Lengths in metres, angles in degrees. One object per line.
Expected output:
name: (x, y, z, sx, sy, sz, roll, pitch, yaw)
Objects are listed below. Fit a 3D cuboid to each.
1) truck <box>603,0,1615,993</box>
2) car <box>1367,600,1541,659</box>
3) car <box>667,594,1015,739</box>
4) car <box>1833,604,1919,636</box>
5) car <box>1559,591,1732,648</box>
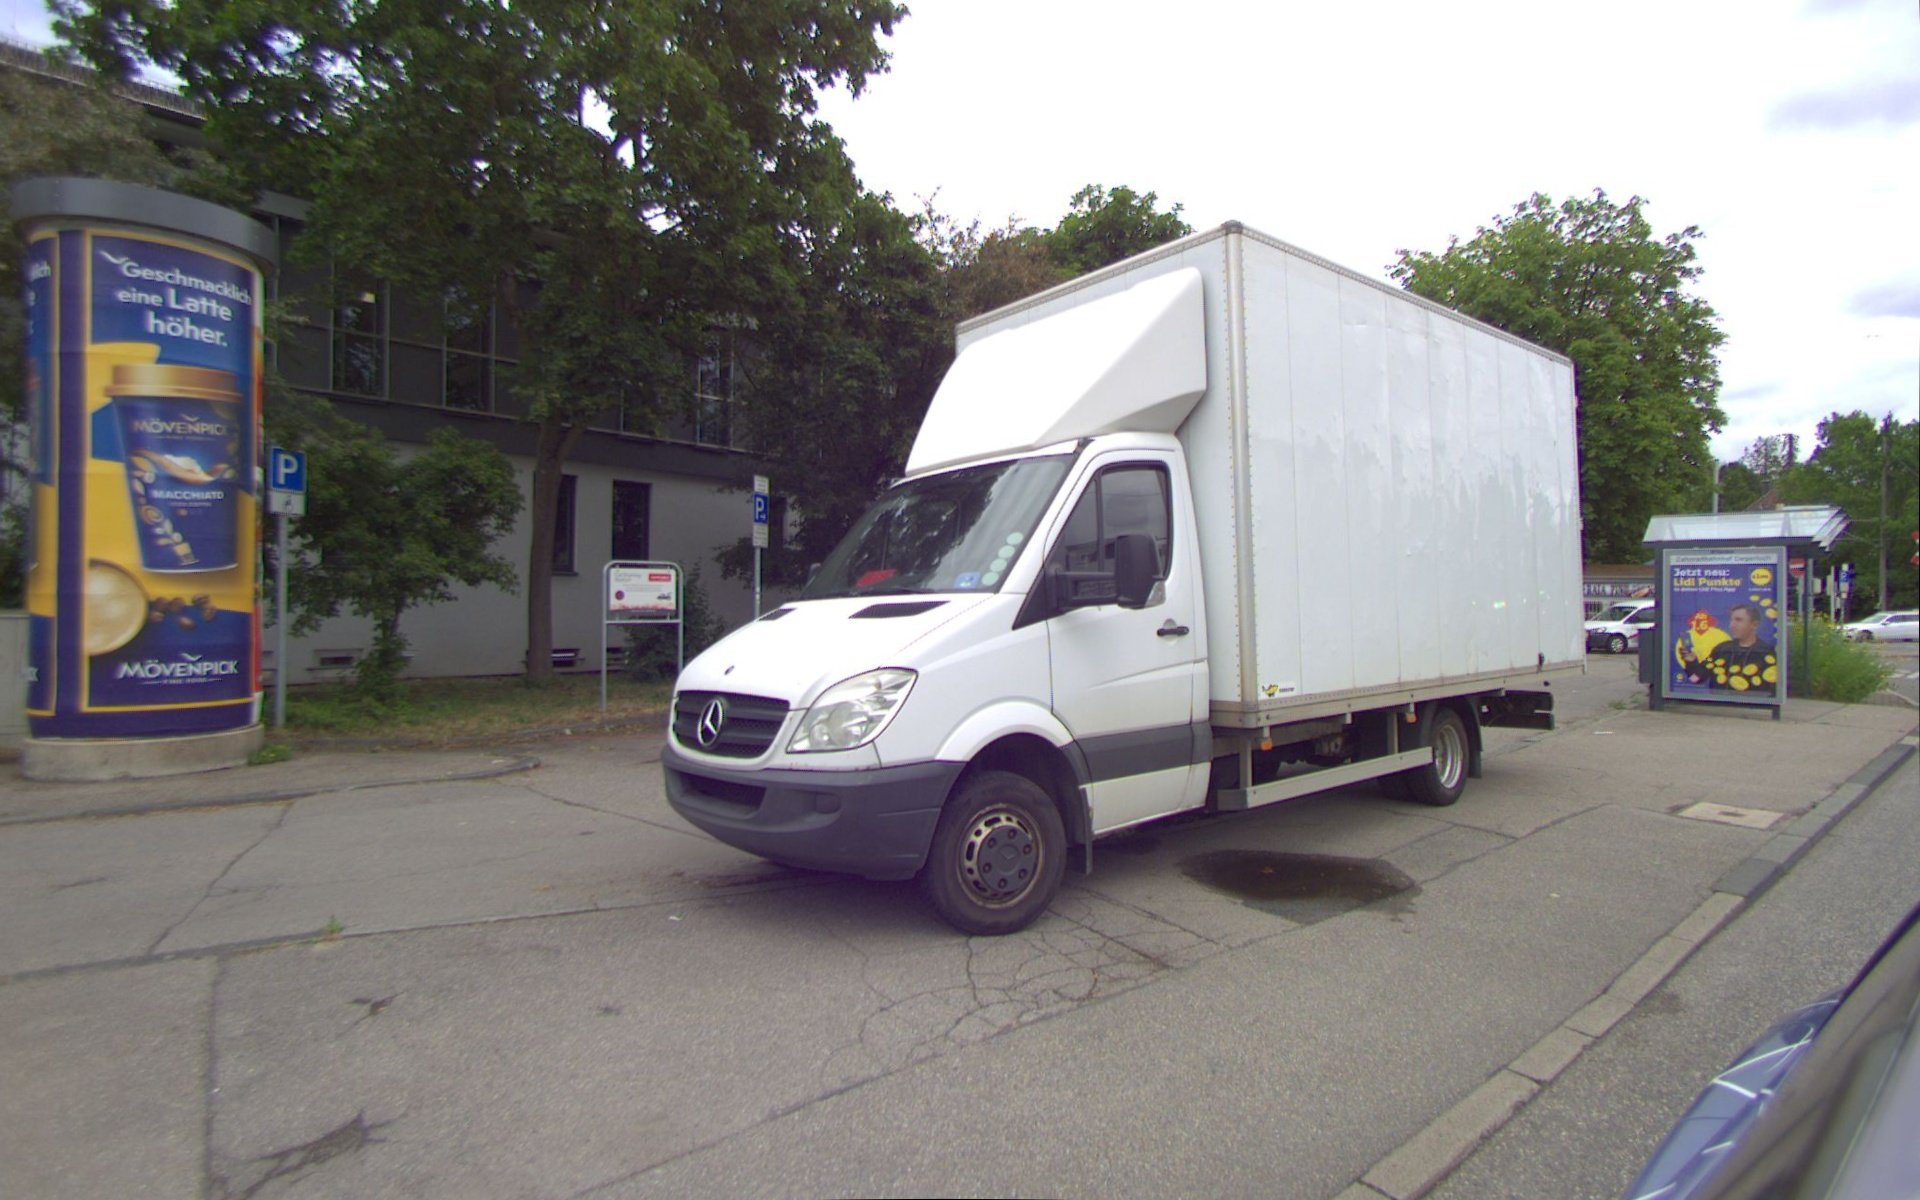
truck: (1.805, -0.415, 7.025, 7.673, 3.570, 2.578, 0, 0, -41)
car: (13.183, 0.759, 27.272, 3.945, 1.496, 1.870, 0, 0, 17)
car: (-1.362, 0.692, 11.654, 3.685, 1.464, 1.595, 0, -2, 22)
car: (46.943, 0.998, 50.588, 4.586, 1.556, 1.908, 1, 0, 14)
car: (22.813, 0.639, 33.764, 4.602, 1.771, 1.853, 1, 0, -4)
